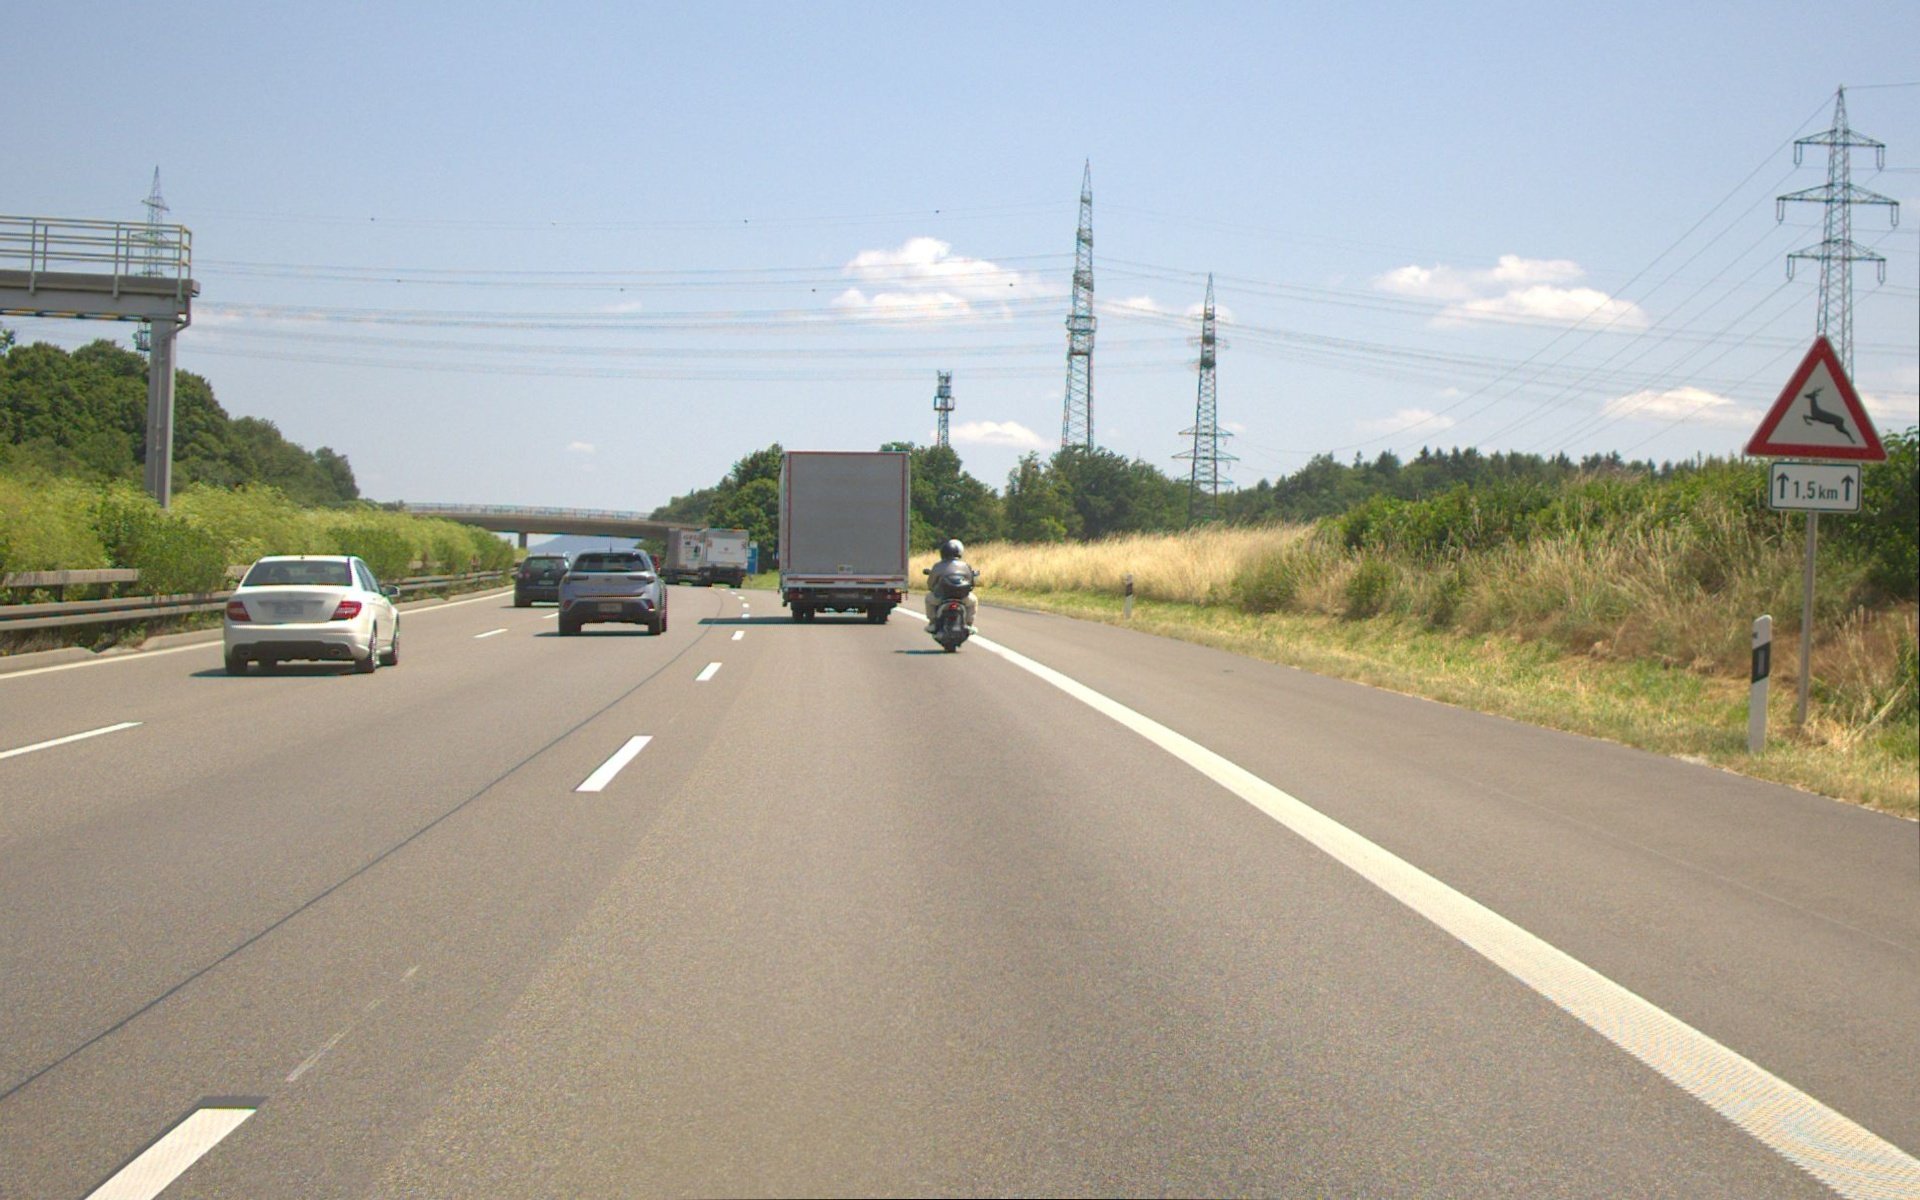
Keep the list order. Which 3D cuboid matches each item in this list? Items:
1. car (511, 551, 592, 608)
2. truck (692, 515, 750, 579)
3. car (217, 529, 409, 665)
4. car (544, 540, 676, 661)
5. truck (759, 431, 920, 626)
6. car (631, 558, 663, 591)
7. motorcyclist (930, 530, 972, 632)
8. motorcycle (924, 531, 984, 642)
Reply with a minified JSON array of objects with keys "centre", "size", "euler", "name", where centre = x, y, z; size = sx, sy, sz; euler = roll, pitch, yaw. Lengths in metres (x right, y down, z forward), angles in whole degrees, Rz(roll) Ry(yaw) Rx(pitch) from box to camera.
[{"centre":[-10.991,-0.573,92.764],"size":[1.756,1.424,4.001],"euler":[0,2,-1],"name":"car"},{"centre":[-14.861,-3.301,213.691],"size":[3.483,3.899,7.291],"euler":[0,1,-5],"name":"truck"},{"centre":[-7.817,-0.077,41.839],"size":[1.819,1.535,3.915],"euler":[0,2,-4],"name":"car"},{"centre":[-6.123,-0.031,60.547],"size":[1.993,2.007,4.001],"euler":[0,2,-1],"name":"car"},{"centre":[-2.596,-1.517,73.715],"size":[3.221,3.910,9.062],"euler":[0,1,-2],"name":"truck"},{"centre":[-19.400,-1.593,213.013],"size":[1.901,1.919,4.001],"euler":[0,2,-5],"name":"car"},{"centre":[-0.137,-0.280,50.254],"size":[0.572,1.474,0.700],"euler":[0,1,-2],"name":"motorcyclist"},{"centre":[-0.100,-0.209,50.343],"size":[0.809,1.602,1.782],"euler":[0,1,-2],"name":"motorcycle"}]
